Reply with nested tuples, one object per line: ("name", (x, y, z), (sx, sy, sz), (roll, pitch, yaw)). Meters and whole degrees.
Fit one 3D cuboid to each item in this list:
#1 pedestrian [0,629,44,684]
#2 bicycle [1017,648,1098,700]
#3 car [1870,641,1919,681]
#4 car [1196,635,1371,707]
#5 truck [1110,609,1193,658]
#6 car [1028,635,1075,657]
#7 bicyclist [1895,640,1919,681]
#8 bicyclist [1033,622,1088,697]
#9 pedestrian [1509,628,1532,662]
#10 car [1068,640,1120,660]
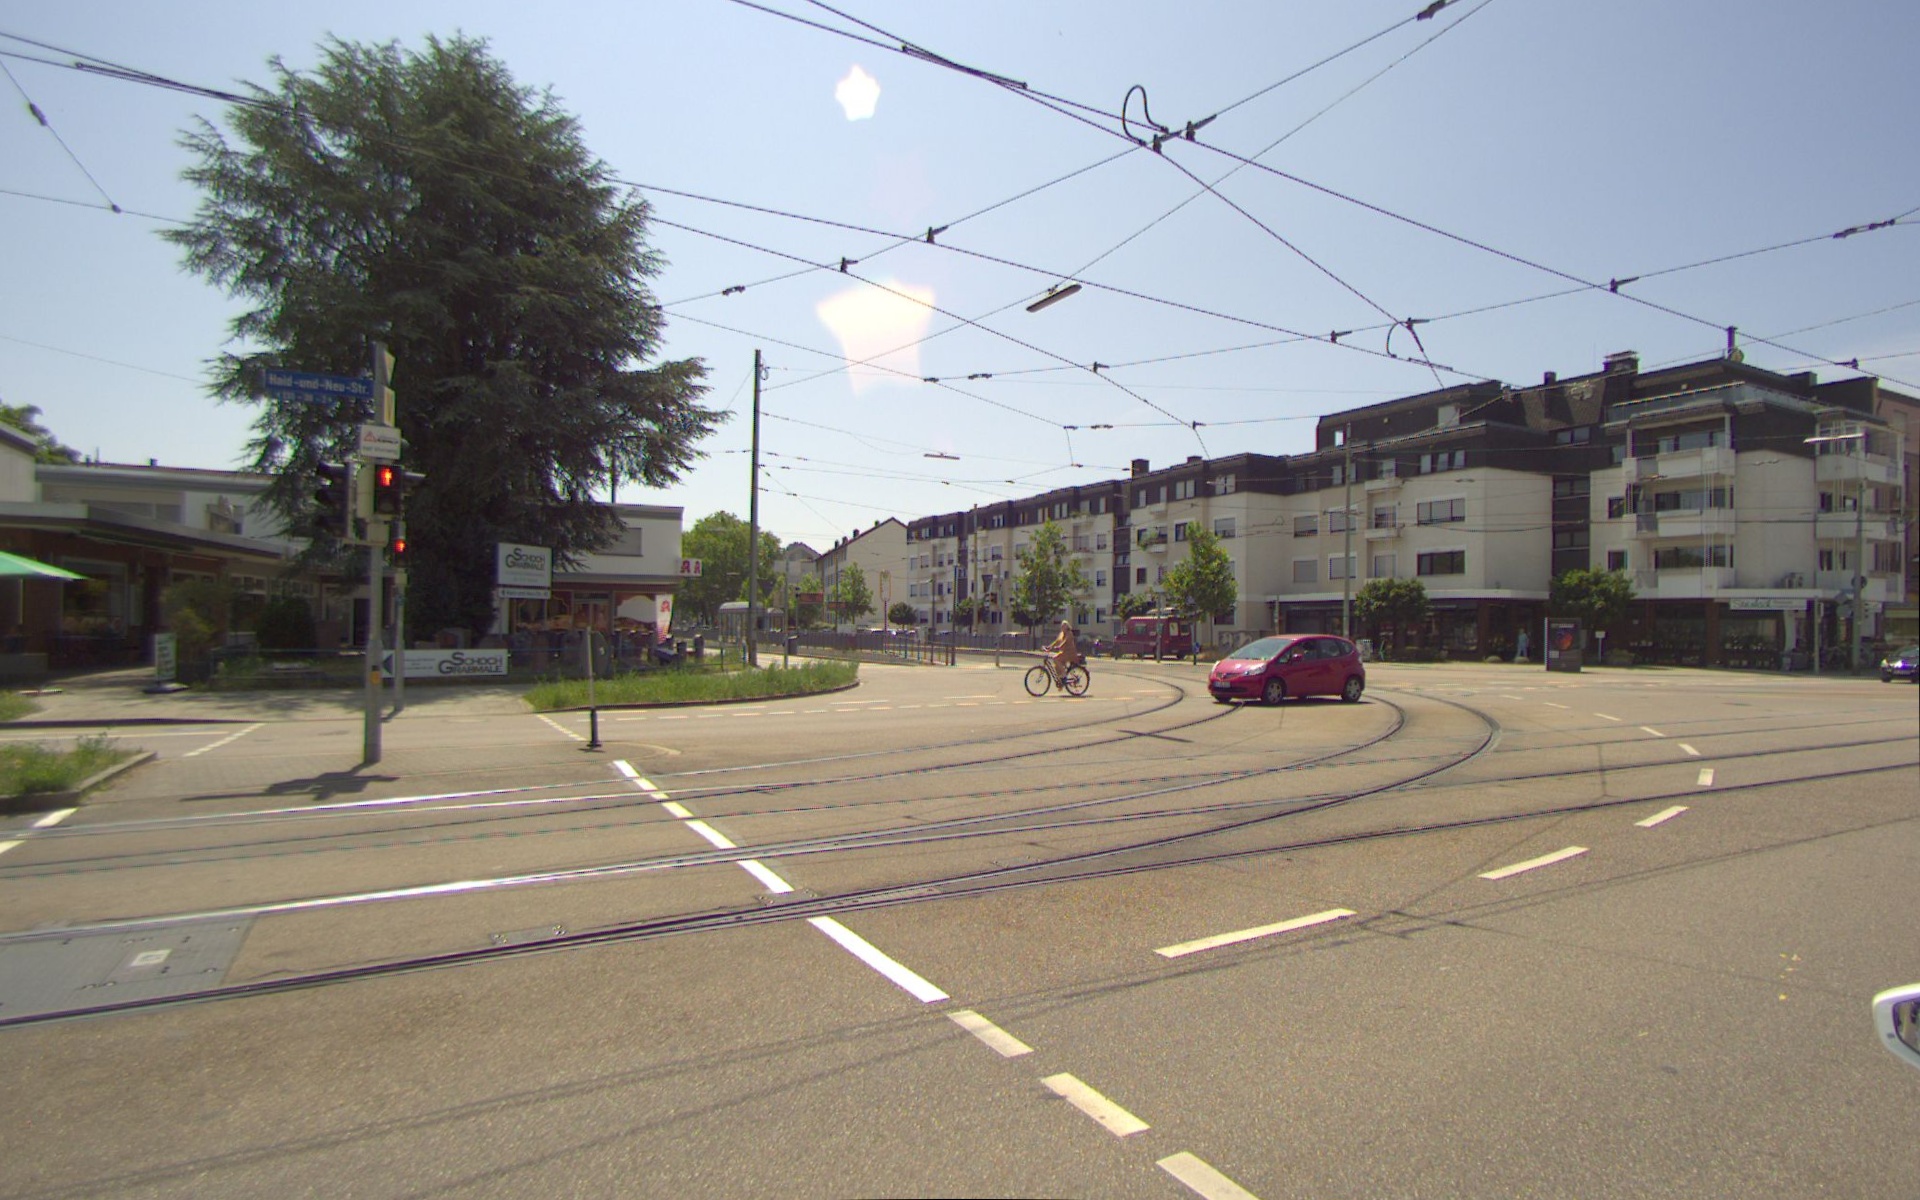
("pedestrian", (-19.821, 1.187, 21.133), (0.666, 1.142, 0.515), (1, -2, -29))
("bicycle", (2.372, 1.765, 24.340), (1.908, 1.164, 0.691), (0, -1, -30))
("car", (36.759, 2.317, 38.407), (3.817, 1.457, 1.703), (1, -2, -28))
("car", (7.323, 1.547, 22.668), (3.781, 1.503, 1.618), (1, -2, -28))
("truck", (11.217, 1.985, 59.214), (2.160, 2.734, 5.007), (1, -2, -28))
("car", (6.236, 3.133, 68.650), (1.570, 1.452, 3.556), (1, -2, -27))
("bicyclist", (42.129, 2.659, 44.390), (1.118, 1.786, 0.731), (1, -2, -22))
("bicyclist", (2.444, 1.426, 24.392), (1.123, 1.789, 0.691), (0, -1, -30))
("pedestrian", (28.847, 2.307, 51.690), (0.796, 1.719, 0.698), (1, -2, -22))
("car", (8.545, 3.163, 64.161), (1.570, 1.235, 3.556), (1, -2, -27))
